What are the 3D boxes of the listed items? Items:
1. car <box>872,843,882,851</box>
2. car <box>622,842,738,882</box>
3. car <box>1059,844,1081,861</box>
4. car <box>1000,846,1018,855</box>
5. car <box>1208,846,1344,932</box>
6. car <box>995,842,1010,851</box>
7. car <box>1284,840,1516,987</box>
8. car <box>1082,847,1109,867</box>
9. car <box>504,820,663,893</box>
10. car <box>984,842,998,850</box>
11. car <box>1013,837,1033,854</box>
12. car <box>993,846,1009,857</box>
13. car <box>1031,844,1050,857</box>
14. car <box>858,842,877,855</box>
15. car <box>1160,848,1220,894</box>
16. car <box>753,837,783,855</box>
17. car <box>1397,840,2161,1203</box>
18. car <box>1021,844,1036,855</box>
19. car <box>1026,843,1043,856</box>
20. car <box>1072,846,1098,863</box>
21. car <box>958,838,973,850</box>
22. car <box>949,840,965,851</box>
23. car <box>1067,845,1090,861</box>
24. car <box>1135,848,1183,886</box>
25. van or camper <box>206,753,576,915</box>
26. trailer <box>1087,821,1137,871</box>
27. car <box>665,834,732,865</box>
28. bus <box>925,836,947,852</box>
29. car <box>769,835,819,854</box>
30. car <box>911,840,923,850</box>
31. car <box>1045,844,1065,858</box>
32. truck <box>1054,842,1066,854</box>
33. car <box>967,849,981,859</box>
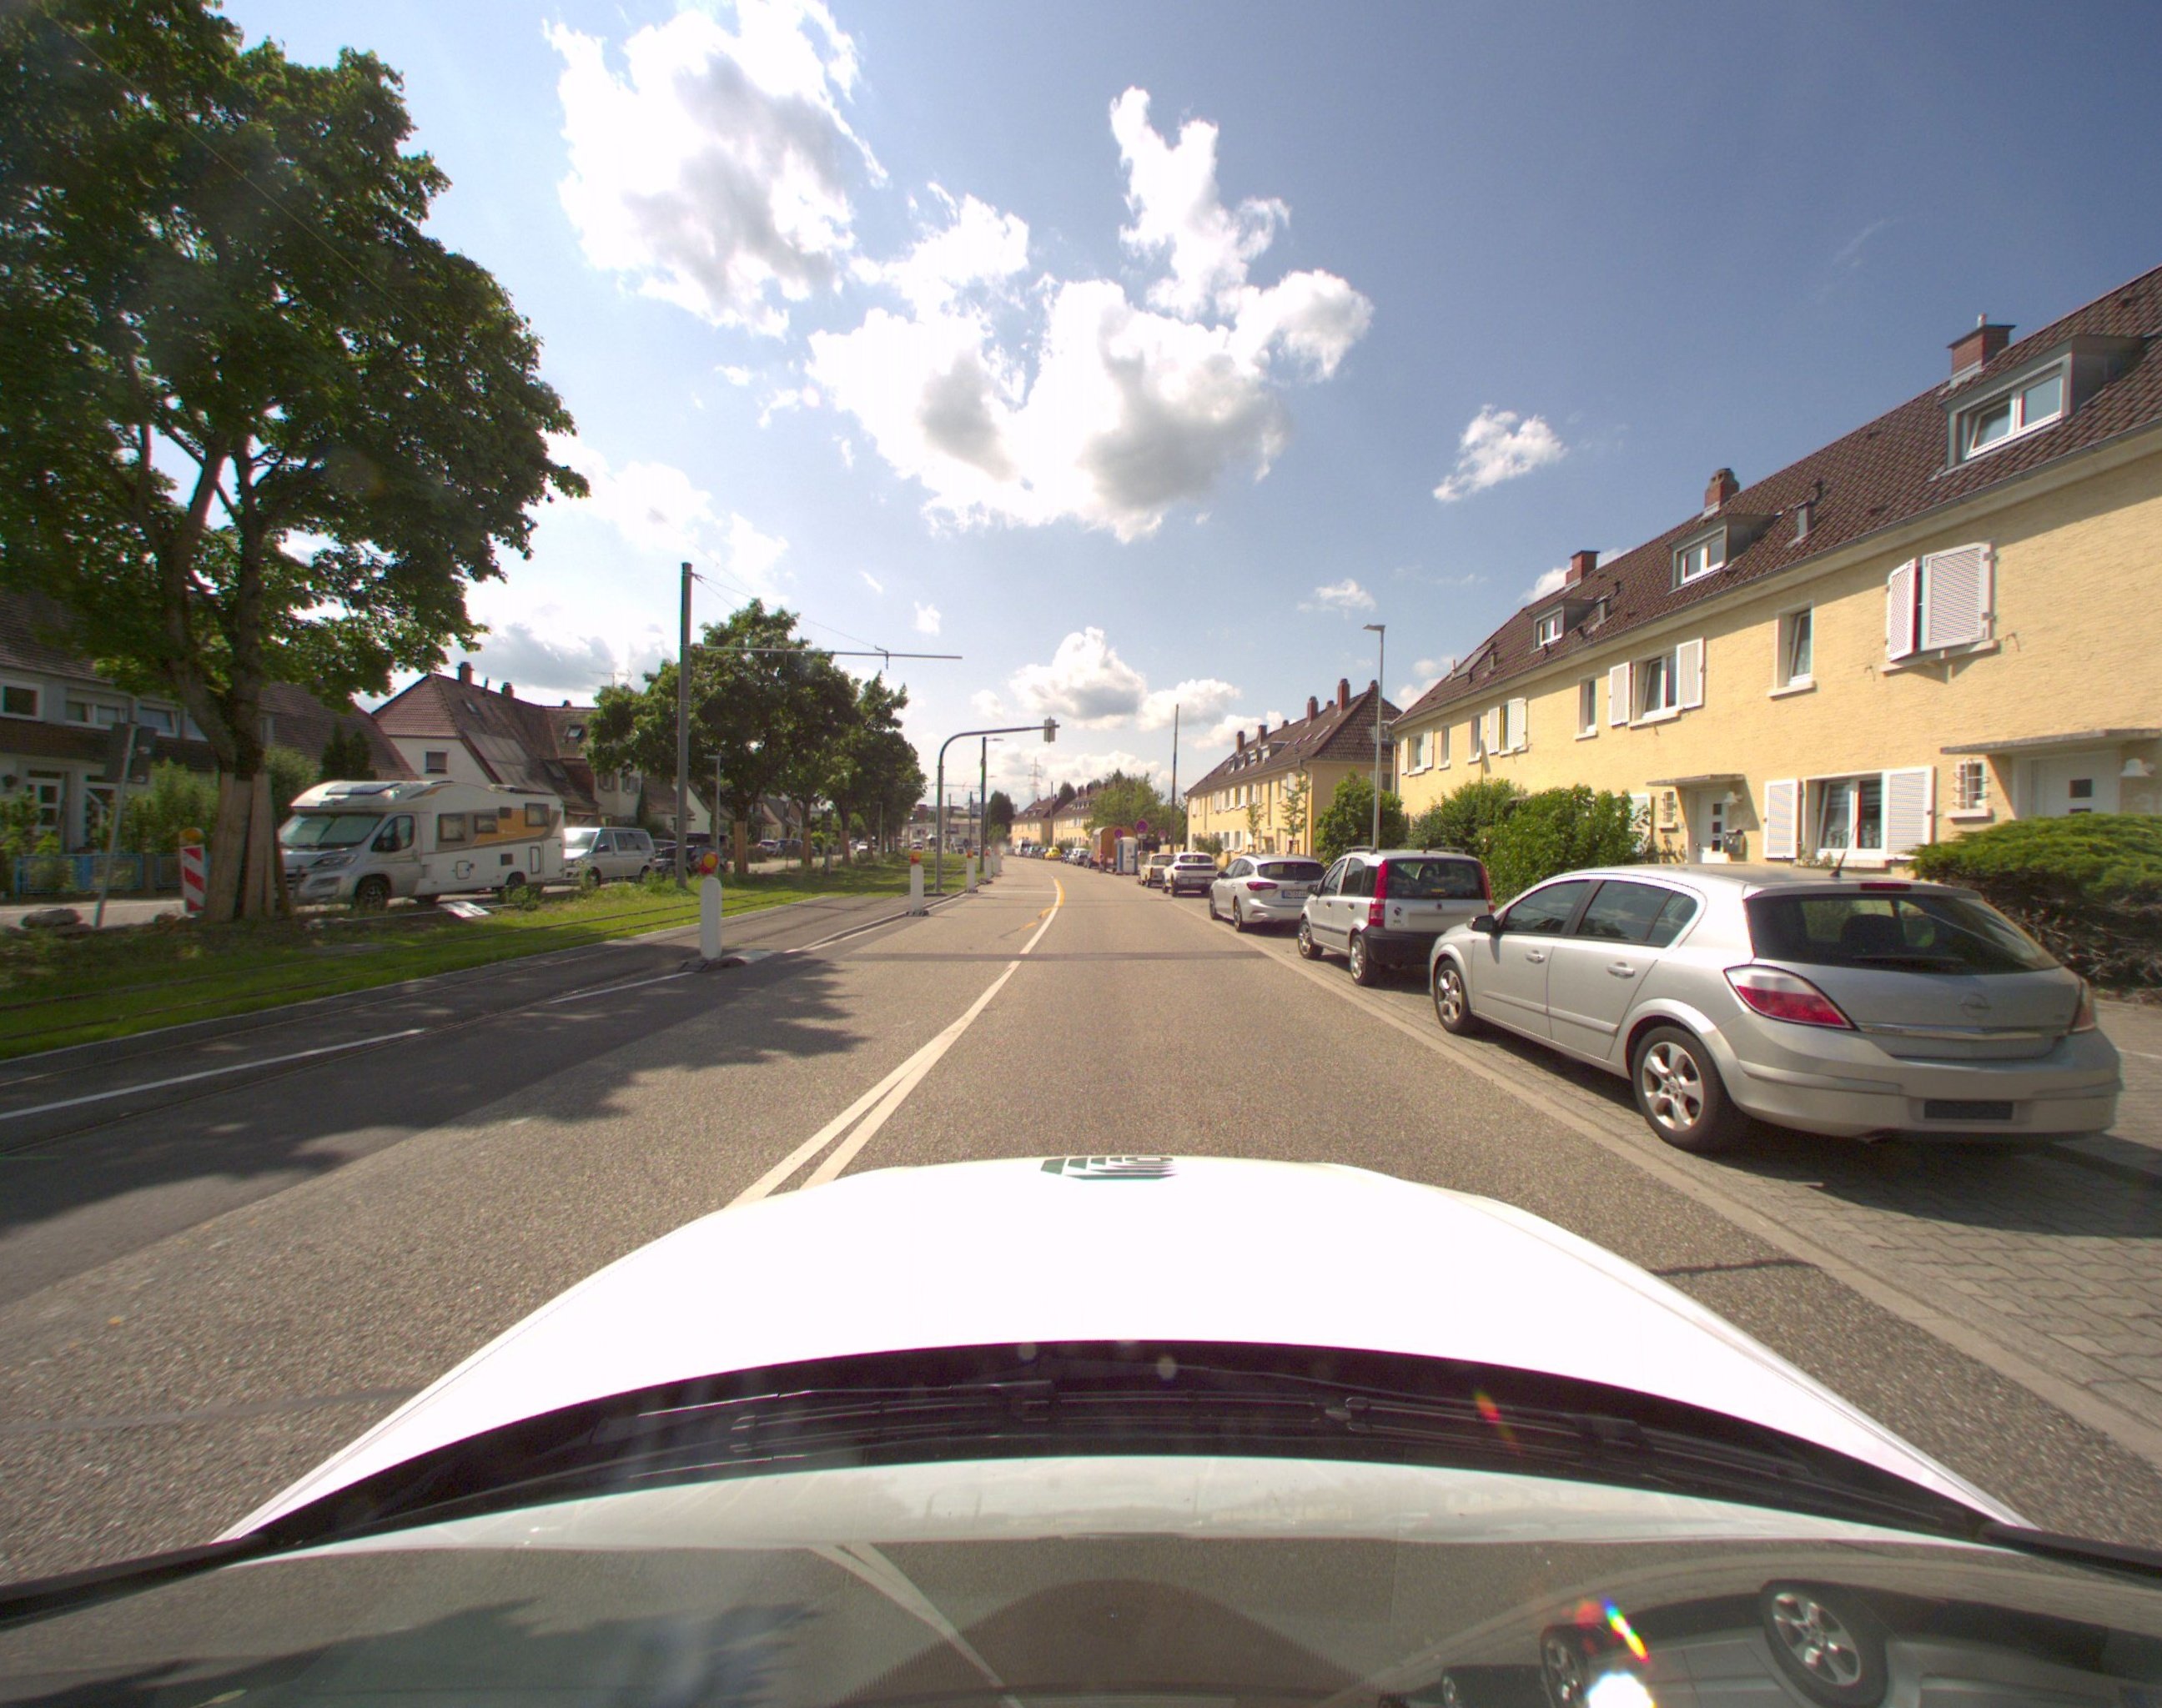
[{"bbox_3d":[-39.771,-1.465,158.654,1.732,1.505,4.543,-1,1,-16],"label":"car"},{"bbox_3d":[-15.300,0.277,31.426,1.844,1.387,4.812,1,0,3],"label":"car"},{"bbox_3d":[-1.118,-0.200,82.637,1.549,1.641,4.232,1,1,-10],"label":"car"},{"bbox_3d":[-11.656,-0.519,131.477,1.804,1.458,4.736,-1,0,-18],"label":"car"},{"bbox_3d":[3.741,0.591,16.409,1.744,1.497,4.386,0,0,1],"label":"car"},{"bbox_3d":[-13.210,-1.242,136.700,1.625,1.417,3.977,-1,1,-17],"label":"car"},{"bbox_3d":[3.872,0.619,10.579,1.622,1.550,3.811,0,0,1],"label":"car"},{"bbox_3d":[1.115,0.228,64.700,1.576,1.449,4.442,1,1,-7],"label":"car"},{"bbox_3d":[-15.291,0.052,25.419,1.988,2.013,4.902,1,0,-1],"label":"car"},{"bbox_3d":[-16.002,-1.376,145.194,1.768,1.417,3.977,-1,1,-17],"label":"car"},{"bbox_3d":[-8.495,-1.225,119.124,1.932,2.480,5.491,0,1,-14],"label":"car"},{"bbox_3d":[-10.158,-0.335,103.753,1.665,1.449,3.945,-2,1,-10],"label":"car"},{"bbox_3d":[-5.241,-0.514,105.383,1.639,1.602,3.912,1,1,-15],"label":"car"},{"bbox_3d":[-29.965,-0.731,114.421,1.879,1.768,5.071,1,0,-7],"label":"car"},{"bbox_3d":[3.712,0.551,28.243,1.523,1.481,3.808,0,0,-1],"label":"car"},{"bbox_3d":[-27.429,-0.716,71.568,1.729,1.517,4.029,1,0,-11],"label":"car"},{"bbox_3d":[3.823,0.680,5.511,1.702,1.504,4.254,1,1,0],"label":"car"},{"bbox_3d":[-7.361,-0.593,113.907,1.537,1.445,3.721,1,1,-13],"label":"car"},{"bbox_3d":[-6.267,-0.624,109.266,1.638,1.602,4.012,1,1,-13],"label":"car"},{"bbox_3d":[0.289,-0.006,72.527,1.705,1.449,4.823,1,1,-7],"label":"car"},{"bbox_3d":[-24.293,-2.043,171.202,1.965,2.478,6.023,-1,1,-18],"label":"car"},{"bbox_3d":[-21.954,-1.514,144.171,1.960,1.966,5.262,0,1,-17],"label":"car"},{"bbox_3d":[-0.253,-0.108,77.584,1.576,1.513,4.448,1,1,-7],"label":"car"},{"bbox_3d":[3.253,0.514,34.619,1.460,1.502,4.105,0,0,-3],"label":"car"},{"bbox_3d":[-15.020,-0.394,18.710,2.369,2.970,7.292,1,0,-1],"label":"van or camper"},{"bbox_3d":[2.088,-0.553,56.293,2.687,3.226,5.071,1,1,-6],"label":"trailer"},{"bbox_3d":[-25.442,-0.297,54.207,3.903,1.897,1.927,3,0,-26],"label":"car"},{"bbox_3d":[-31.612,-2.157,177.249,2.644,3.412,12.169,-1,1,-19],"label":"bus"},{"bbox_3d":[-29.103,-0.948,82.660,4.474,1.836,2.056,1,0,-13],"label":"car"},{"bbox_3d":[-40.847,-2.281,202.948,2.109,2.443,5.536,1,0,-19],"label":"car"},{"bbox_3d":[-3.069,-0.317,95.046,1.637,1.482,3.917,-2,2,-11],"label":"car"},{"bbox_3d":[-3.054,-0.872,117.988,1.348,1.688,2.430,1,0,-13],"label":"truck"},{"bbox_3d":[-16.490,-0.041,125.206,1.726,1.389,4.103,1,0,-13],"label":"car"}]
